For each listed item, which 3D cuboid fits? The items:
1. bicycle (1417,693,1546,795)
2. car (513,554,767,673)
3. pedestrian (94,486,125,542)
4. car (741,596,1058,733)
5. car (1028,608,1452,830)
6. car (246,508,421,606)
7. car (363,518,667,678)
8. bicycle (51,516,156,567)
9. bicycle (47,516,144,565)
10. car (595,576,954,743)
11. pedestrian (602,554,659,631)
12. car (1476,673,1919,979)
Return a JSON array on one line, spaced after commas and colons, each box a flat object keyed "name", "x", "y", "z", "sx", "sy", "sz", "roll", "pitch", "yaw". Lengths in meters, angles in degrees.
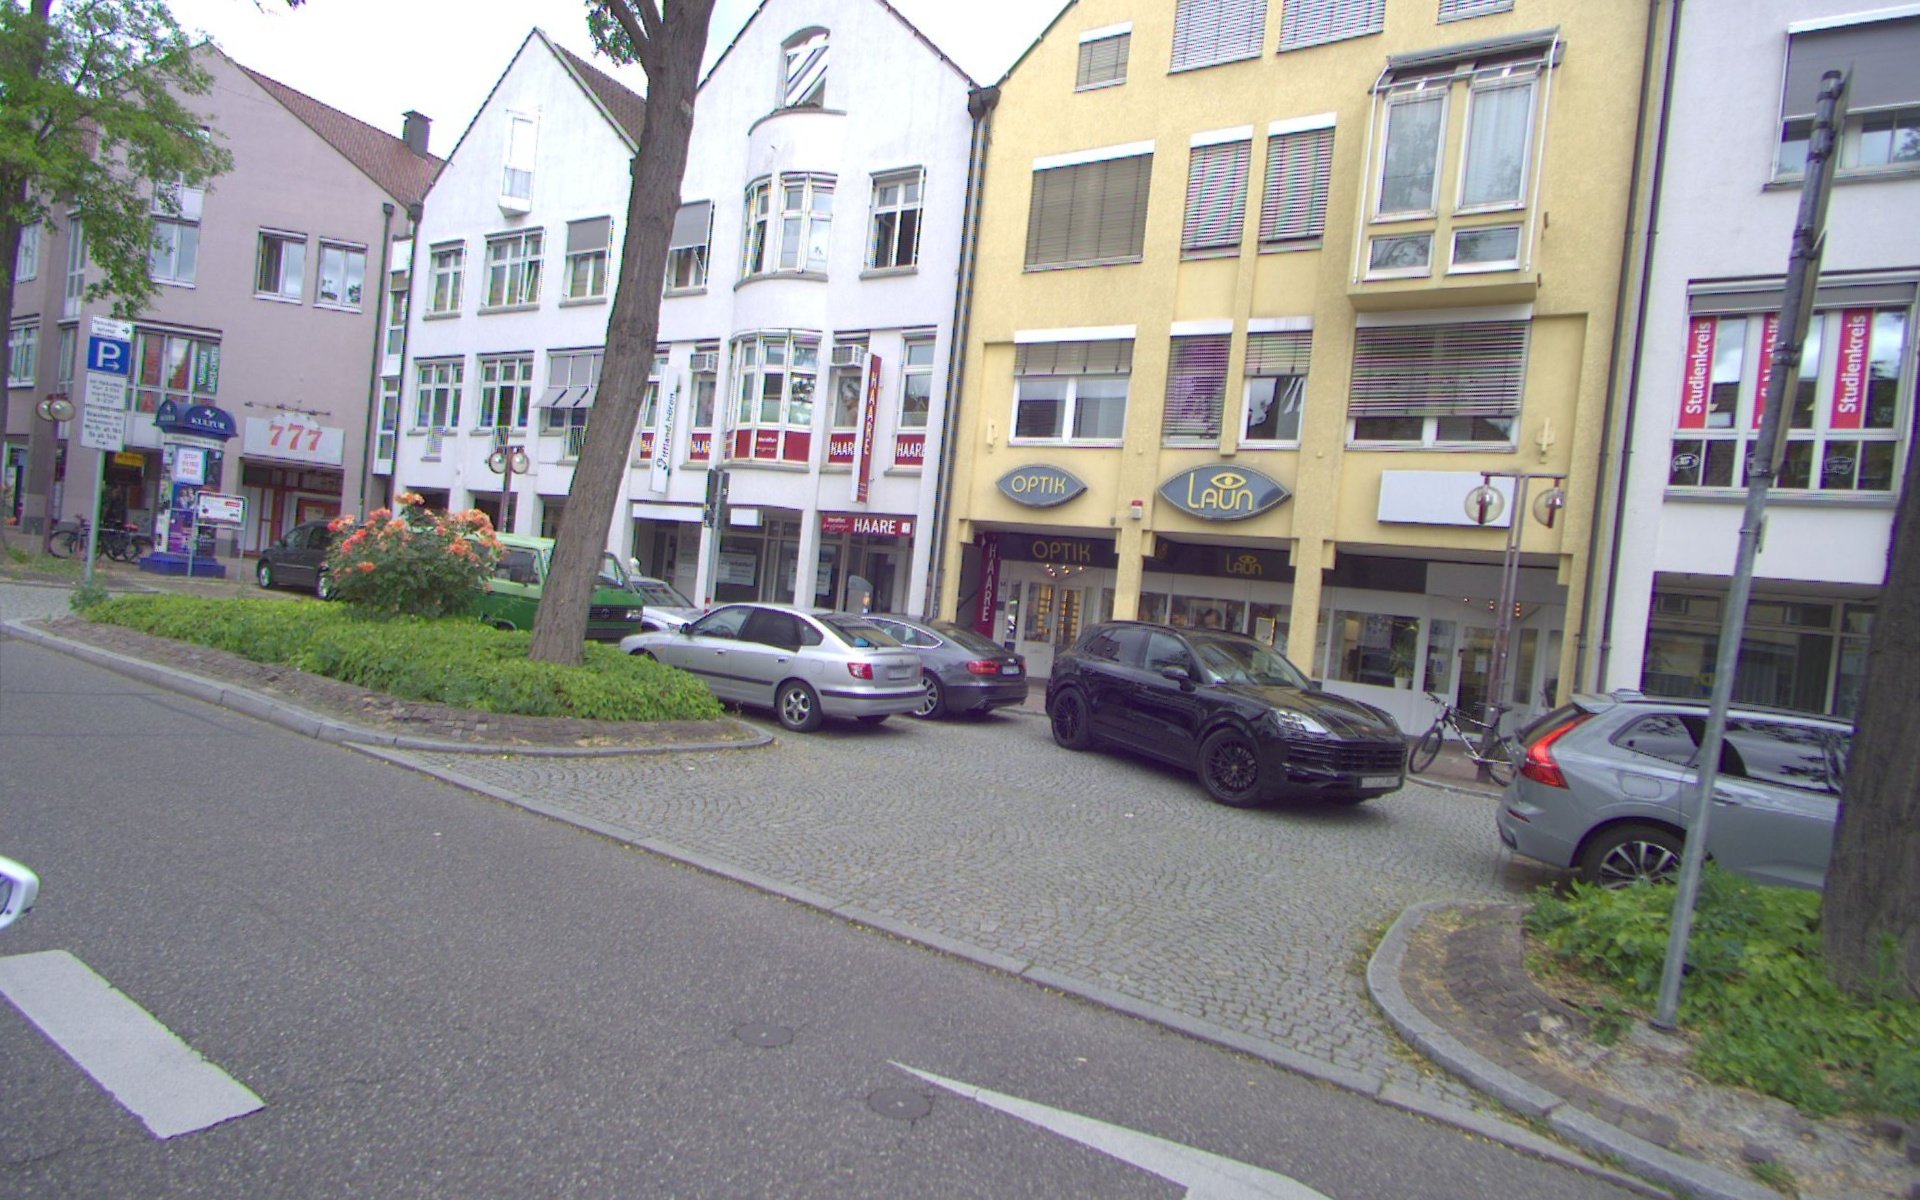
[{"name": "bicycle", "x": 6.728, "y": 1.836, "z": 12.996, "sx": 1.356, "sy": 1.058, "sz": 0.392, "roll": 7, "pitch": 2, "yaw": 32}, {"name": "car", "x": -5.741, "y": 0.211, "z": 17.915, "sx": 4.320, "sy": 1.562, "sz": 1.797, "roll": 7, "pitch": 1, "yaw": 30}, {"name": "pedestrian", "x": -29.902, "y": -3.027, "z": 35.372, "sx": 0.646, "sy": 1.857, "sz": 0.604, "roll": 6, "pitch": 1, "yaw": -36}, {"name": "car", "x": -0.961, "y": 0.900, "z": 15.340, "sx": 4.344, "sy": 1.394, "sz": 1.999, "roll": 7, "pitch": 1, "yaw": 30}, {"name": "car", "x": 2.890, "y": 1.180, "z": 11.583, "sx": 1.838, "sy": 1.692, "sz": 4.627, "roll": 5, "pitch": 1, "yaw": -30}, {"name": "car", "x": -14.809, "y": -1.023, "z": 23.750, "sx": 3.898, "sy": 1.855, "sz": 1.639, "roll": 7, "pitch": 1, "yaw": 28}, {"name": "car", "x": -6.919, "y": -0.071, "z": 15.527, "sx": 4.528, "sy": 1.900, "sz": 1.882, "roll": 7, "pitch": 2, "yaw": 30}, {"name": "bicycle", "x": -21.630, "y": -1.465, "z": 25.435, "sx": 0.460, "sy": 1.009, "sz": 1.901, "roll": 7, "pitch": 0, "yaw": 36}, {"name": "bicycle", "x": -22.080, "y": -1.496, "z": 25.730, "sx": 0.440, "sy": 1.009, "sz": 1.769, "roll": 7, "pitch": 0, "yaw": 36}, {"name": "car", "x": -2.457, "y": 0.689, "z": 12.987, "sx": 4.344, "sy": 1.468, "sz": 1.765, "roll": 7, "pitch": 0, "yaw": 30}, {"name": "pedestrian", "x": -7.597, "y": -0.172, "z": 23.206, "sx": 0.805, "sy": 1.682, "sz": 0.789, "roll": 7, "pitch": 3, "yaw": 32}, {"name": "car", "x": 6.526, "y": 1.660, "z": 7.393, "sx": 4.682, "sy": 1.615, "sz": 1.997, "roll": 7, "pitch": 0, "yaw": 29}]
